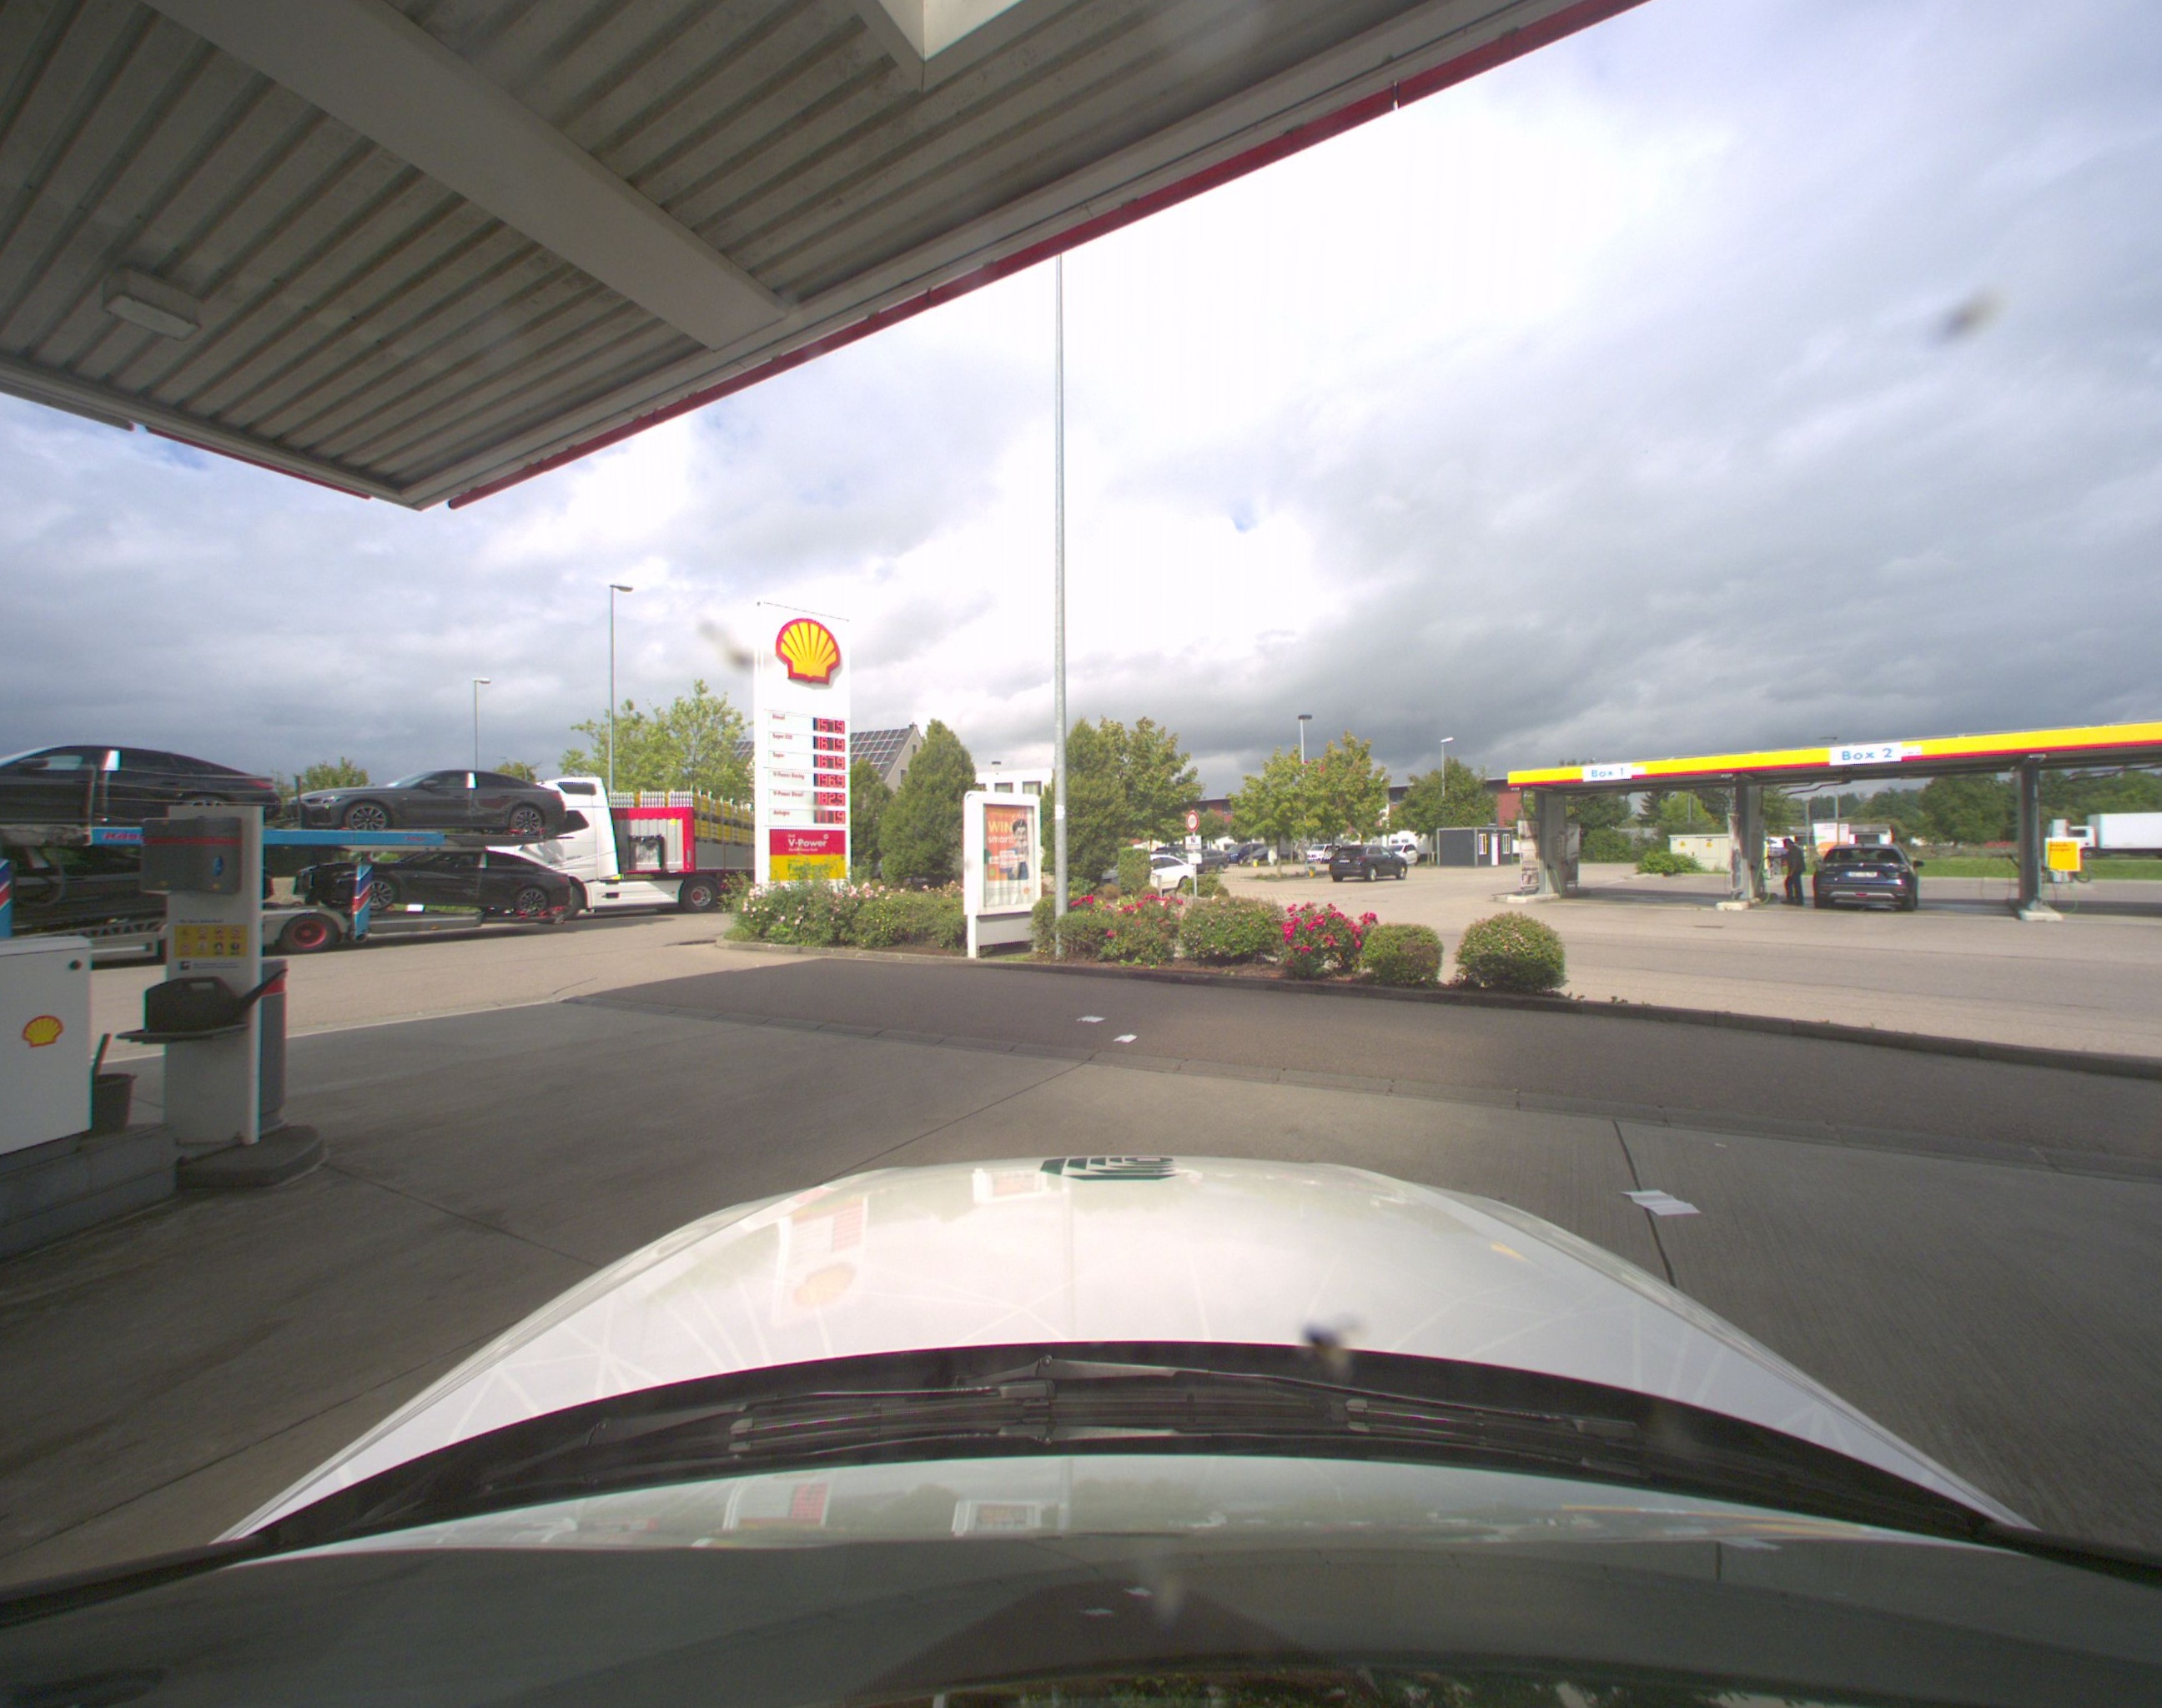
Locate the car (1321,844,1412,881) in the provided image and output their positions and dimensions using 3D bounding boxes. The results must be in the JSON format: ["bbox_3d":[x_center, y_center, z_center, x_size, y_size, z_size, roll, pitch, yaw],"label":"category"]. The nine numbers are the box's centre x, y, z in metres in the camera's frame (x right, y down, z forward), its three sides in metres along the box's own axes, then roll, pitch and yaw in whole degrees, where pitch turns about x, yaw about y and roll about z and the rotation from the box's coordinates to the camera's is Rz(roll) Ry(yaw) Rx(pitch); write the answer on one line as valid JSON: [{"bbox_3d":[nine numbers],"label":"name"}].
[{"bbox_3d":[12.868,0.374,36.560,4.527,1.548,1.864,0,-1,-41],"label":"car"}]

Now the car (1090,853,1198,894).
[{"bbox_3d":[2.387,0.688,29.999,4.368,1.404,1.354,0,-1,-42],"label":"car"}]

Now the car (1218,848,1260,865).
[{"bbox_3d":[12.937,0.184,66.640,3.407,1.320,1.726,0,-1,-42],"label":"car"}]

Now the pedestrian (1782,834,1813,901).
[{"bbox_3d":[18.687,0.356,21.243,0.551,1.722,0.531,-1,-1,39],"label":"pedestrian"}]

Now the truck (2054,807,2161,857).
[{"bbox_3d":[78.218,-1.590,59.998,7.989,3.534,2.714,-1,-1,41],"label":"truck"}]

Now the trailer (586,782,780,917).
[{"bbox_3d":[-13.564,-0.071,29.329,2.730,3.776,12.670,0,-1,-9],"label":"trailer"}]

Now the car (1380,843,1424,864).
[{"bbox_3d":[20.597,-0.049,52.197,3.120,1.307,1.352,0,-1,-42],"label":"car"}]

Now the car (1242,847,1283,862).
[{"bbox_3d":[14.480,0.036,64.856,3.437,1.179,1.468,0,-1,-42],"label":"car"}]

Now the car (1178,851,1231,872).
[{"bbox_3d":[7.529,0.452,49.684,3.245,1.228,1.488,0,-1,-42],"label":"car"}]

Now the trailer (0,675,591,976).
[{"bbox_3d":[-16.440,-0.400,13.660,2.711,4.423,14.450,-1,-1,31],"label":"trailer"}]

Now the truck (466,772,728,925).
[{"bbox_3d":[-13.742,-0.119,23.514,2.706,3.846,5.955,-1,-1,41],"label":"truck"}]

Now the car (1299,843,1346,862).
[{"bbox_3d":[23.858,-0.124,80.250,4.903,1.833,2.159,0,-1,-41],"label":"car"}]

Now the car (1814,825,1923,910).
[{"bbox_3d":[19.433,0.310,20.056,3.828,1.897,1.703,0,-1,-43],"label":"car"}]
